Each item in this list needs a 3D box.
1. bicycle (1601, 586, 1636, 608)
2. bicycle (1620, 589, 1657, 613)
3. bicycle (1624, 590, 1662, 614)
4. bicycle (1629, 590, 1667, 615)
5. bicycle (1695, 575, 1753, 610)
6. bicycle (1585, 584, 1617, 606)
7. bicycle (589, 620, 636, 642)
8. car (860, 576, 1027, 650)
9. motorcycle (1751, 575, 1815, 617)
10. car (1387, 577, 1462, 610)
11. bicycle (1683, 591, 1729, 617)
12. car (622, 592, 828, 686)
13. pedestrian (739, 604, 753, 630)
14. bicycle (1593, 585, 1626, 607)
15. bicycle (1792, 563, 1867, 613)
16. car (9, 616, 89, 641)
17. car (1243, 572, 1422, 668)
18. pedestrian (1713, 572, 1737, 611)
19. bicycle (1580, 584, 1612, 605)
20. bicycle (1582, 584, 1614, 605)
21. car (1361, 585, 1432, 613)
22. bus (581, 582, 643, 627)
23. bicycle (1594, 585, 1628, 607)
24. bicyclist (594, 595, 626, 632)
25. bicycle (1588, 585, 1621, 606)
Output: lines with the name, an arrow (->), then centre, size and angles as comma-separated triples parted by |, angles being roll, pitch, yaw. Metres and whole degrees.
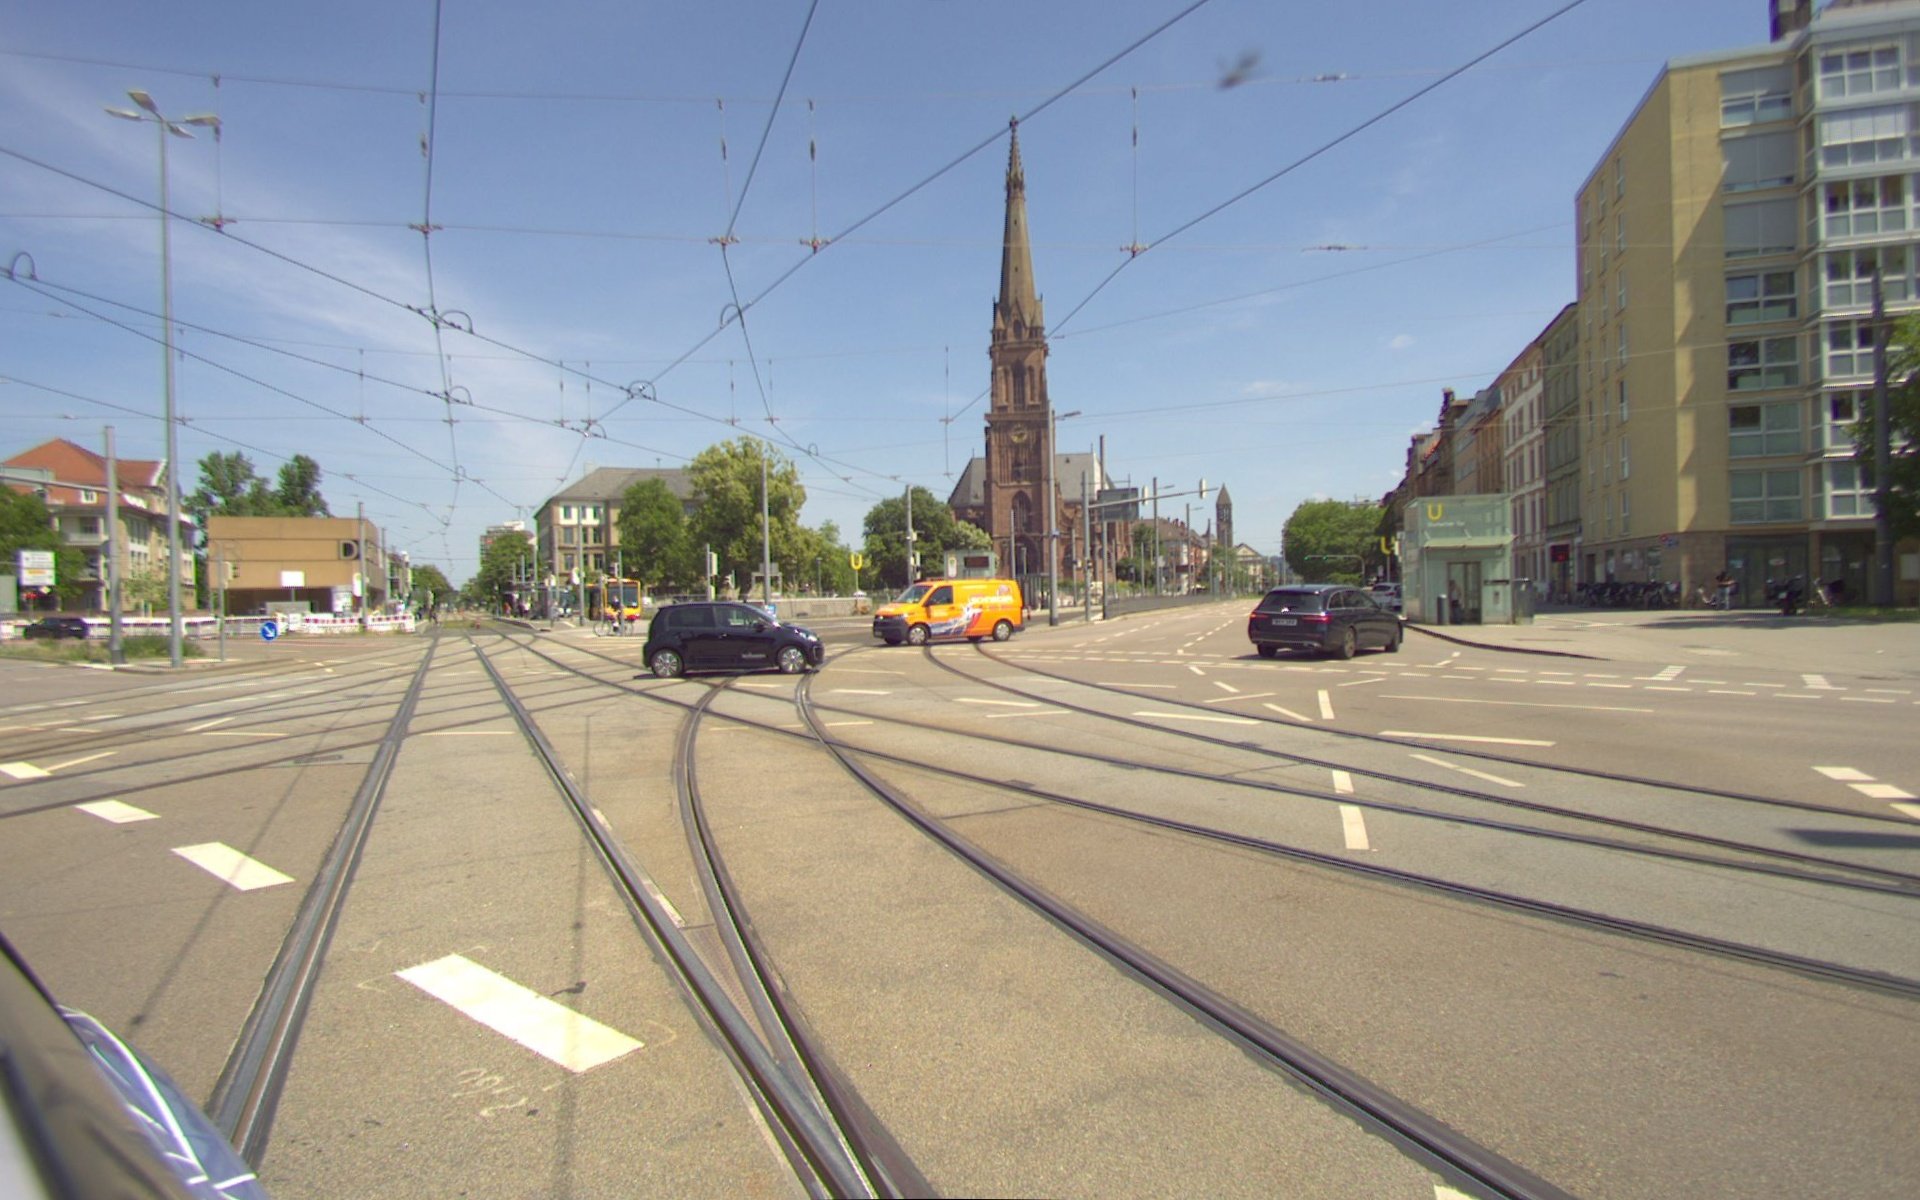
bicycle -> 31.858, -0.154, 48.972 | 1.421, 1.034, 0.433 | -2, 0, -7
bicycle -> 30.193, 0.056, 45.021 | 1.421, 1.034, 0.433 | -2, 0, -7
bicycle -> 30.069, 0.079, 44.545 | 1.421, 1.034, 0.433 | -2, 0, -7
bicycle -> 29.985, 0.099, 44.093 | 1.421, 1.034, 0.433 | -2, 0, -7
bicycle -> 30.477, -0.304, 40.379 | 1.595, 1.130, 0.601 | 10, 5, 24
bicycle -> 32.311, -0.249, 51.011 | 1.421, 1.034, 0.433 | -2, 0, -7
bicycle -> -15.213, 1.356, 44.357 | 0.628, 0.861, 1.875 | -2, 0, 39
car -> -0.468, 0.361, 31.100 | 4.790, 2.073, 2.005 | -2, 0, -34
motorcycle -> 25.540, -0.137, 31.392 | 2.767, 1.231, 0.967 | -2, 0, -39
car -> 26.497, -0.353, 57.713 | 3.931, 1.763, 1.844 | -2, 0, -28
bicycle -> 30.741, 0.165, 41.723 | 1.433, 1.034, 0.430 | -2, 0, 21
car -> -4.580, 0.731, 20.133 | 3.683, 1.588, 1.750 | -2, 1, -2
pedestrian -> -11.506, 0.921, 54.447 | 0.518, 1.344, 1.001 | -1, 0, -22
bicycle -> 32.101, -0.203, 50.016 | 1.421, 1.034, 0.433 | -2, 0, -7
bicycle -> 32.428, -0.438, 37.814 | 1.092, 1.780, 2.872 | -2, 0, 19
car -> -57.449, 1.813, 63.797 | 4.817, 1.476, 1.984 | -1, 0, 24
car -> 7.872, 0.327, 21.087 | 1.803, 1.652, 4.738 | -1, 2, 43
pedestrian -> 30.463, -0.338, 40.291 | 0.679, 1.497, 0.302 | -2, 0, 27
bicycle -> 32.688, -0.302, 52.044 | 1.421, 1.034, 0.433 | -2, 0, -7
bicycle -> 32.526, -0.279, 51.587 | 1.421, 1.034, 0.433 | -2, 0, -7
car -> 26.067, -0.068, 60.443 | 3.931, 1.521, 1.844 | -2, 0, -28
bus -> -26.118, 0.332, 75.536 | 2.807, 3.038, 12.260 | -2, 0, -26
bicycle -> 31.876, -0.178, 49.560 | 1.421, 1.034, 0.433 | -2, 0, -7
bicyclist -> -15.337, 0.594, 44.339 | 0.438, 1.540, 1.238 | 0, 3, 39
bicycle -> 32.184, -0.227, 50.549 | 1.421, 1.034, 0.433 | -2, 0, -7
